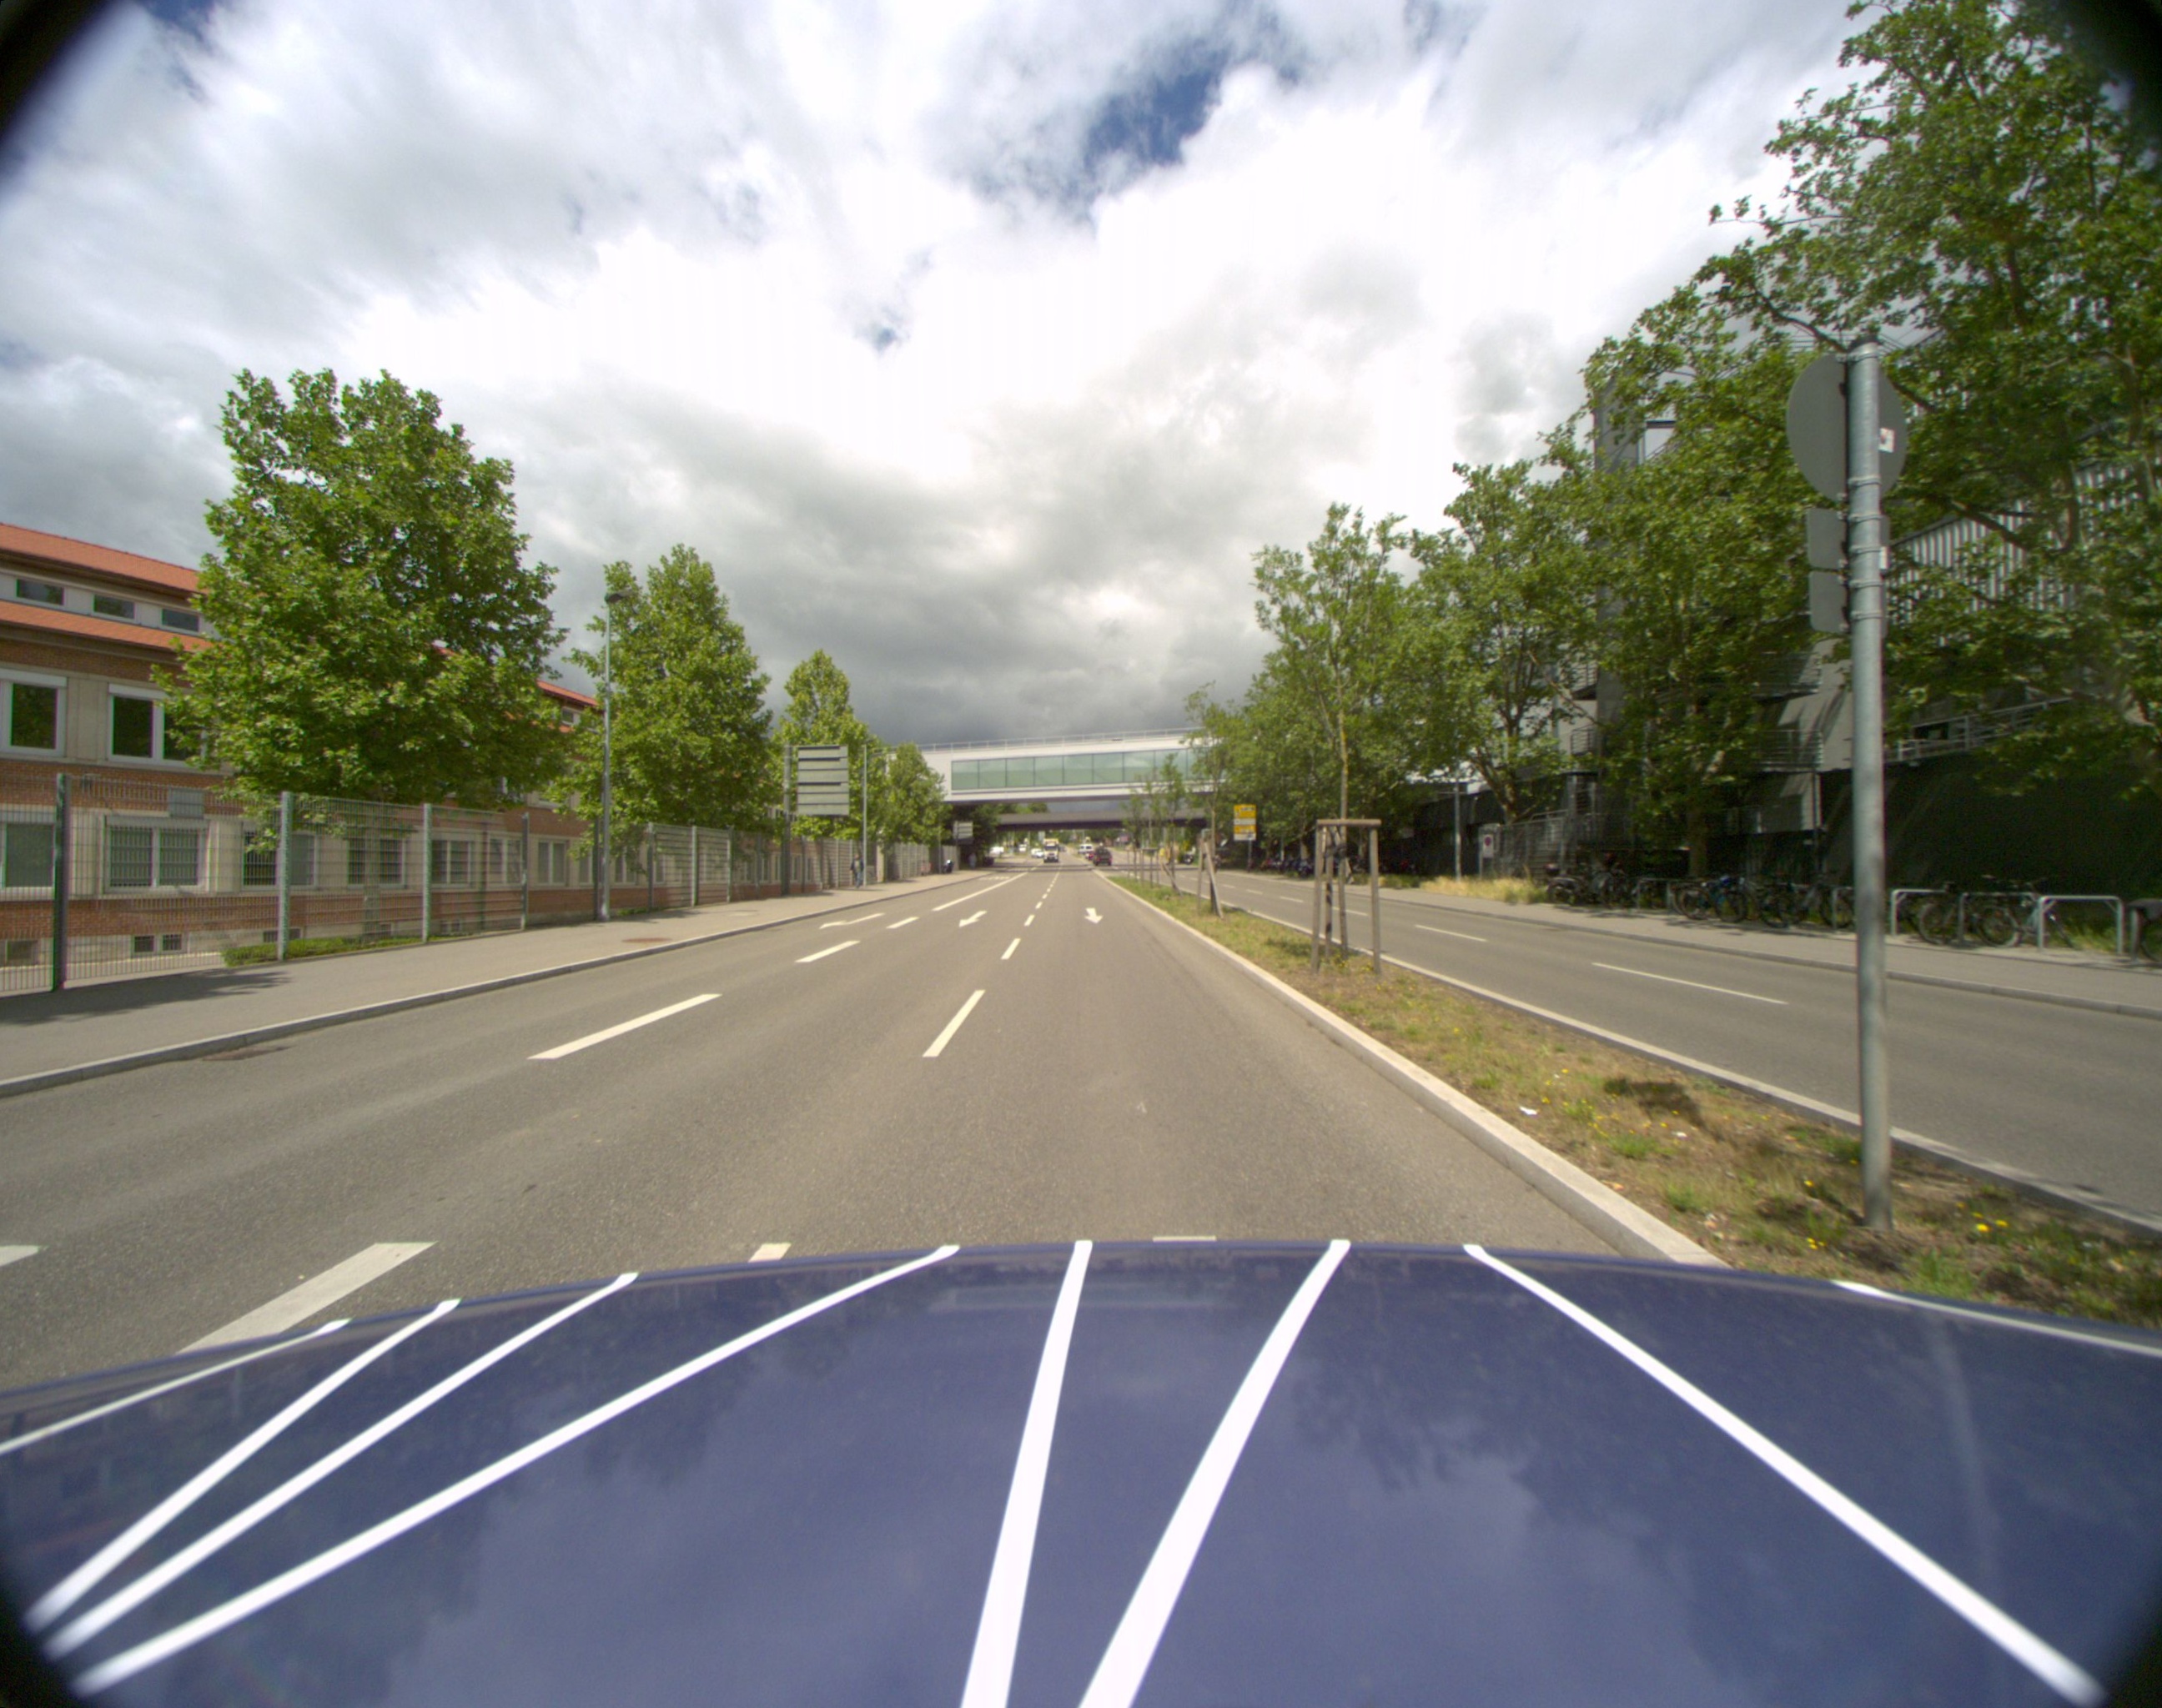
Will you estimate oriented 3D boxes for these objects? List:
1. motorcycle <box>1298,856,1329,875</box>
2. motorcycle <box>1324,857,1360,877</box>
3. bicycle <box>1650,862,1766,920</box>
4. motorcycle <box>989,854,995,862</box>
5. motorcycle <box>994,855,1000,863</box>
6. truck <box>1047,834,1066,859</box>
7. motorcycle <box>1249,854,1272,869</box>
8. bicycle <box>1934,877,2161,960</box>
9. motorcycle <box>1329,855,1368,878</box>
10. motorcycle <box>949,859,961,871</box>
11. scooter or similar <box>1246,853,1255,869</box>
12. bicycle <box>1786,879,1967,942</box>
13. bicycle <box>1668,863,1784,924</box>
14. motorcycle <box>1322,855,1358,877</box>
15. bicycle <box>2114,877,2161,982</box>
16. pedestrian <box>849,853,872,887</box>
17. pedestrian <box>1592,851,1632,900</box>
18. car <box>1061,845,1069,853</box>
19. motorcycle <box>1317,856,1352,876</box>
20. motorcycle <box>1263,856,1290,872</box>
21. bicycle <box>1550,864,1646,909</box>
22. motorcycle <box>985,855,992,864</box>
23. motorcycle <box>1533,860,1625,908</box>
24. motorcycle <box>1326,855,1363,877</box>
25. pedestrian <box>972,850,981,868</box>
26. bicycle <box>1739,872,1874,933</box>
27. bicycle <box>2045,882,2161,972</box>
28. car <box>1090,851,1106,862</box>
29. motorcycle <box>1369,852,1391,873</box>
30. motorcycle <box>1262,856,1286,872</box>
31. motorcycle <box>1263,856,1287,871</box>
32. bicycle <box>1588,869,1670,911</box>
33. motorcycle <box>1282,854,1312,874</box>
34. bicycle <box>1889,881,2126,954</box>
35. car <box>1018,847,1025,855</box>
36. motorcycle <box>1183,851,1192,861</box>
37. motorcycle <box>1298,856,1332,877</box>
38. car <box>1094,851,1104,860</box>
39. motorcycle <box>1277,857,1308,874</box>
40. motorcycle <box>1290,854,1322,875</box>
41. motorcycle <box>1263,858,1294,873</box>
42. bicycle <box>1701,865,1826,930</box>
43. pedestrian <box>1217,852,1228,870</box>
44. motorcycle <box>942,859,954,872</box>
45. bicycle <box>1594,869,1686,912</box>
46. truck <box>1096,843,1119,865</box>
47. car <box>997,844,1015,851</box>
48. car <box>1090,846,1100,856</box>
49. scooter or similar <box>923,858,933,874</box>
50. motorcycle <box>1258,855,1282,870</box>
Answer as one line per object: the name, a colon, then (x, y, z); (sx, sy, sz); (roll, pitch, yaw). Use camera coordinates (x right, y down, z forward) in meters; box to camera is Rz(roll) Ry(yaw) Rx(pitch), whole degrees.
motorcycle: (15.111, 0.746, 49.443); (1.880, 1.172, 0.816); (-3, -1, 15)
motorcycle: (15.308, 0.763, 44.632); (1.880, 1.078, 0.795); (-3, -1, 15)
bicycle: (14.895, 0.867, 18.083); (2.139, 1.275, 0.806); (-1, 1, -2)
motorcycle: (-12.061, 0.508, 103.243); (0.679, 1.137, 2.160); (0, 0, -2)
motorcycle: (-11.876, 0.694, 107.266); (0.679, 1.076, 2.180); (0, 0, -2)
truck: (-4.057, -1.163, 126.703); (2.787, 3.981, 10.085); (-1, 0, -1)
motorcycle: (14.986, 0.666, 63.451); (1.745, 1.164, 0.777); (-3, -1, 8)
bicycle: (14.556, 0.958, 11.344); (2.569, 1.151, 0.644); (-1, 0, 10)
motorcycle: (14.586, 0.686, 41.502); (1.881, 1.166, 0.746); (-3, -1, 9)
motorcycle: (-11.803, 1.002, 71.042); (0.709, 1.058, 2.510); (2, 0, -1)
scooter or similar: (13.299, 0.559, 59.634); (0.355, 1.229, 1.479); (-2, 1, -1)
bicycle: (14.762, 1.025, 14.116); (2.844, 1.000, 0.850); (-1, 0, -9)
bicycle: (14.333, 0.865, 16.921); (1.923, 1.275, 0.806); (-1, 1, -2)
motorcycle: (15.549, 0.710, 45.674); (1.882, 1.202, 0.655); (-3, -1, 3)
bicycle: (14.357, 0.903, 9.372); (2.410, 1.250, 0.556); (-1, 1, 2)
pedestrian: (-11.470, 0.811, 39.578); (0.879, 1.733, 0.940); (1, 1, -1)
pedestrian: (17.012, 0.679, 24.366); (0.755, 1.543, 0.821); (-1, 1, 10)
car: (-4.588, -1.408, 217.288); (1.999, 2.002, 3.999); (-1, 0, -1)
motorcycle: (15.623, 0.738, 46.800); (1.882, 1.172, 0.698); (-3, -1, 3)
motorcycle: (14.802, 0.757, 57.487); (1.752, 1.172, 0.852); (-3, -1, -12)
bicycle: (14.394, 0.900, 21.180); (2.139, 1.173, 0.806); (-1, 1, -2)
motorcycle: (-12.255, 0.761, 100.914); (0.679, 1.148, 2.112); (0, 0, 0)
motorcycle: (14.332, 0.854, 21.913); (2.139, 1.301, 0.806); (-1, 1, -2)
motorcycle: (15.101, 0.702, 43.564); (1.881, 1.179, 0.730); (-3, 0, 8)
pedestrian: (-11.409, 0.544, 83.052); (0.791, 1.877, 1.097); (0, 1, -1)
bicycle: (14.301, 0.937, 15.003); (1.923, 1.116, 0.806); (-1, 0, -2)
bicycle: (14.995, 0.970, 10.296); (2.569, 1.151, 0.726); (-1, 0, 10)
car: (2.471, 0.363, 111.230); (1.910, 1.621, 4.291); (-1, 0, -4)
motorcycle: (18.683, 0.540, 47.459); (0.654, 1.202, 1.984); (-3, -1, 4)
motorcycle: (15.221, 0.794, 59.941); (1.595, 1.116, 0.776); (-3, -1, 1)
motorcycle: (14.941, 0.746, 58.569); (1.595, 1.027, 0.776); (-3, -1, 1)
bicycle: (14.733, 0.957, 20.436); (1.929, 1.068, 0.422); (-1, 1, -2)
motorcycle: (15.139, 0.698, 53.211); (1.934, 1.283, 0.894); (-3, -1, 20)
bicycle: (14.739, 0.990, 12.159); (2.569, 1.089, 0.696); (0, 1, 10)
car: (-16.814, -0.782, 214.752); (2.000, 2.267, 3.997); (-1, 1, -6)
motorcycle: (12.754, 0.229, 90.905); (0.641, 1.191, 2.257); (-3, 1, -1)
motorcycle: (14.809, 0.792, 48.119); (1.881, 1.172, 0.815); (-3, -1, 9)
car: (3.125, 0.257, 132.394); (1.713, 1.445, 4.479); (-1, 0, 0)
motorcycle: (15.224, 0.807, 54.668); (1.933, 1.109, 0.923); (-3, -1, 27)
motorcycle: (15.070, 0.705, 50.891); (1.934, 1.336, 0.866); (-3, -1, 20)
motorcycle: (14.651, 0.853, 56.406); (1.939, 1.109, 0.920); (1, 1, -12)
bicycle: (14.340, 0.894, 15.998); (1.923, 1.275, 0.806); (-1, 1, -2)
pedestrian: (13.206, 0.653, 71.100); (0.769, 1.603, 0.813); (-3, 1, -1)
motorcycle: (-11.859, 1.002, 67.912); (0.670, 1.058, 2.246); (2, 0, -1)
bicycle: (14.680, 0.960, 19.967); (2.086, 1.056, 0.497); (-1, 1, -2)
truck: (3.468, -0.005, 101.226); (2.486, 2.735, 6.456); (-1, 0, -3)
car: (-19.246, -1.718, 194.784); (4.250, 1.796, 1.829); (-2, 1, 5)
car: (2.704, -0.589, 149.589); (1.813, 1.770, 4.977); (-1, 0, -1)
scooter or similar: (-12.226, 0.939, 60.713); (0.492, 1.287, 1.336); (0, 1, -1)
motorcycle: (15.207, 0.660, 61.126); (1.596, 1.116, 0.775); (-3, -1, -9)
